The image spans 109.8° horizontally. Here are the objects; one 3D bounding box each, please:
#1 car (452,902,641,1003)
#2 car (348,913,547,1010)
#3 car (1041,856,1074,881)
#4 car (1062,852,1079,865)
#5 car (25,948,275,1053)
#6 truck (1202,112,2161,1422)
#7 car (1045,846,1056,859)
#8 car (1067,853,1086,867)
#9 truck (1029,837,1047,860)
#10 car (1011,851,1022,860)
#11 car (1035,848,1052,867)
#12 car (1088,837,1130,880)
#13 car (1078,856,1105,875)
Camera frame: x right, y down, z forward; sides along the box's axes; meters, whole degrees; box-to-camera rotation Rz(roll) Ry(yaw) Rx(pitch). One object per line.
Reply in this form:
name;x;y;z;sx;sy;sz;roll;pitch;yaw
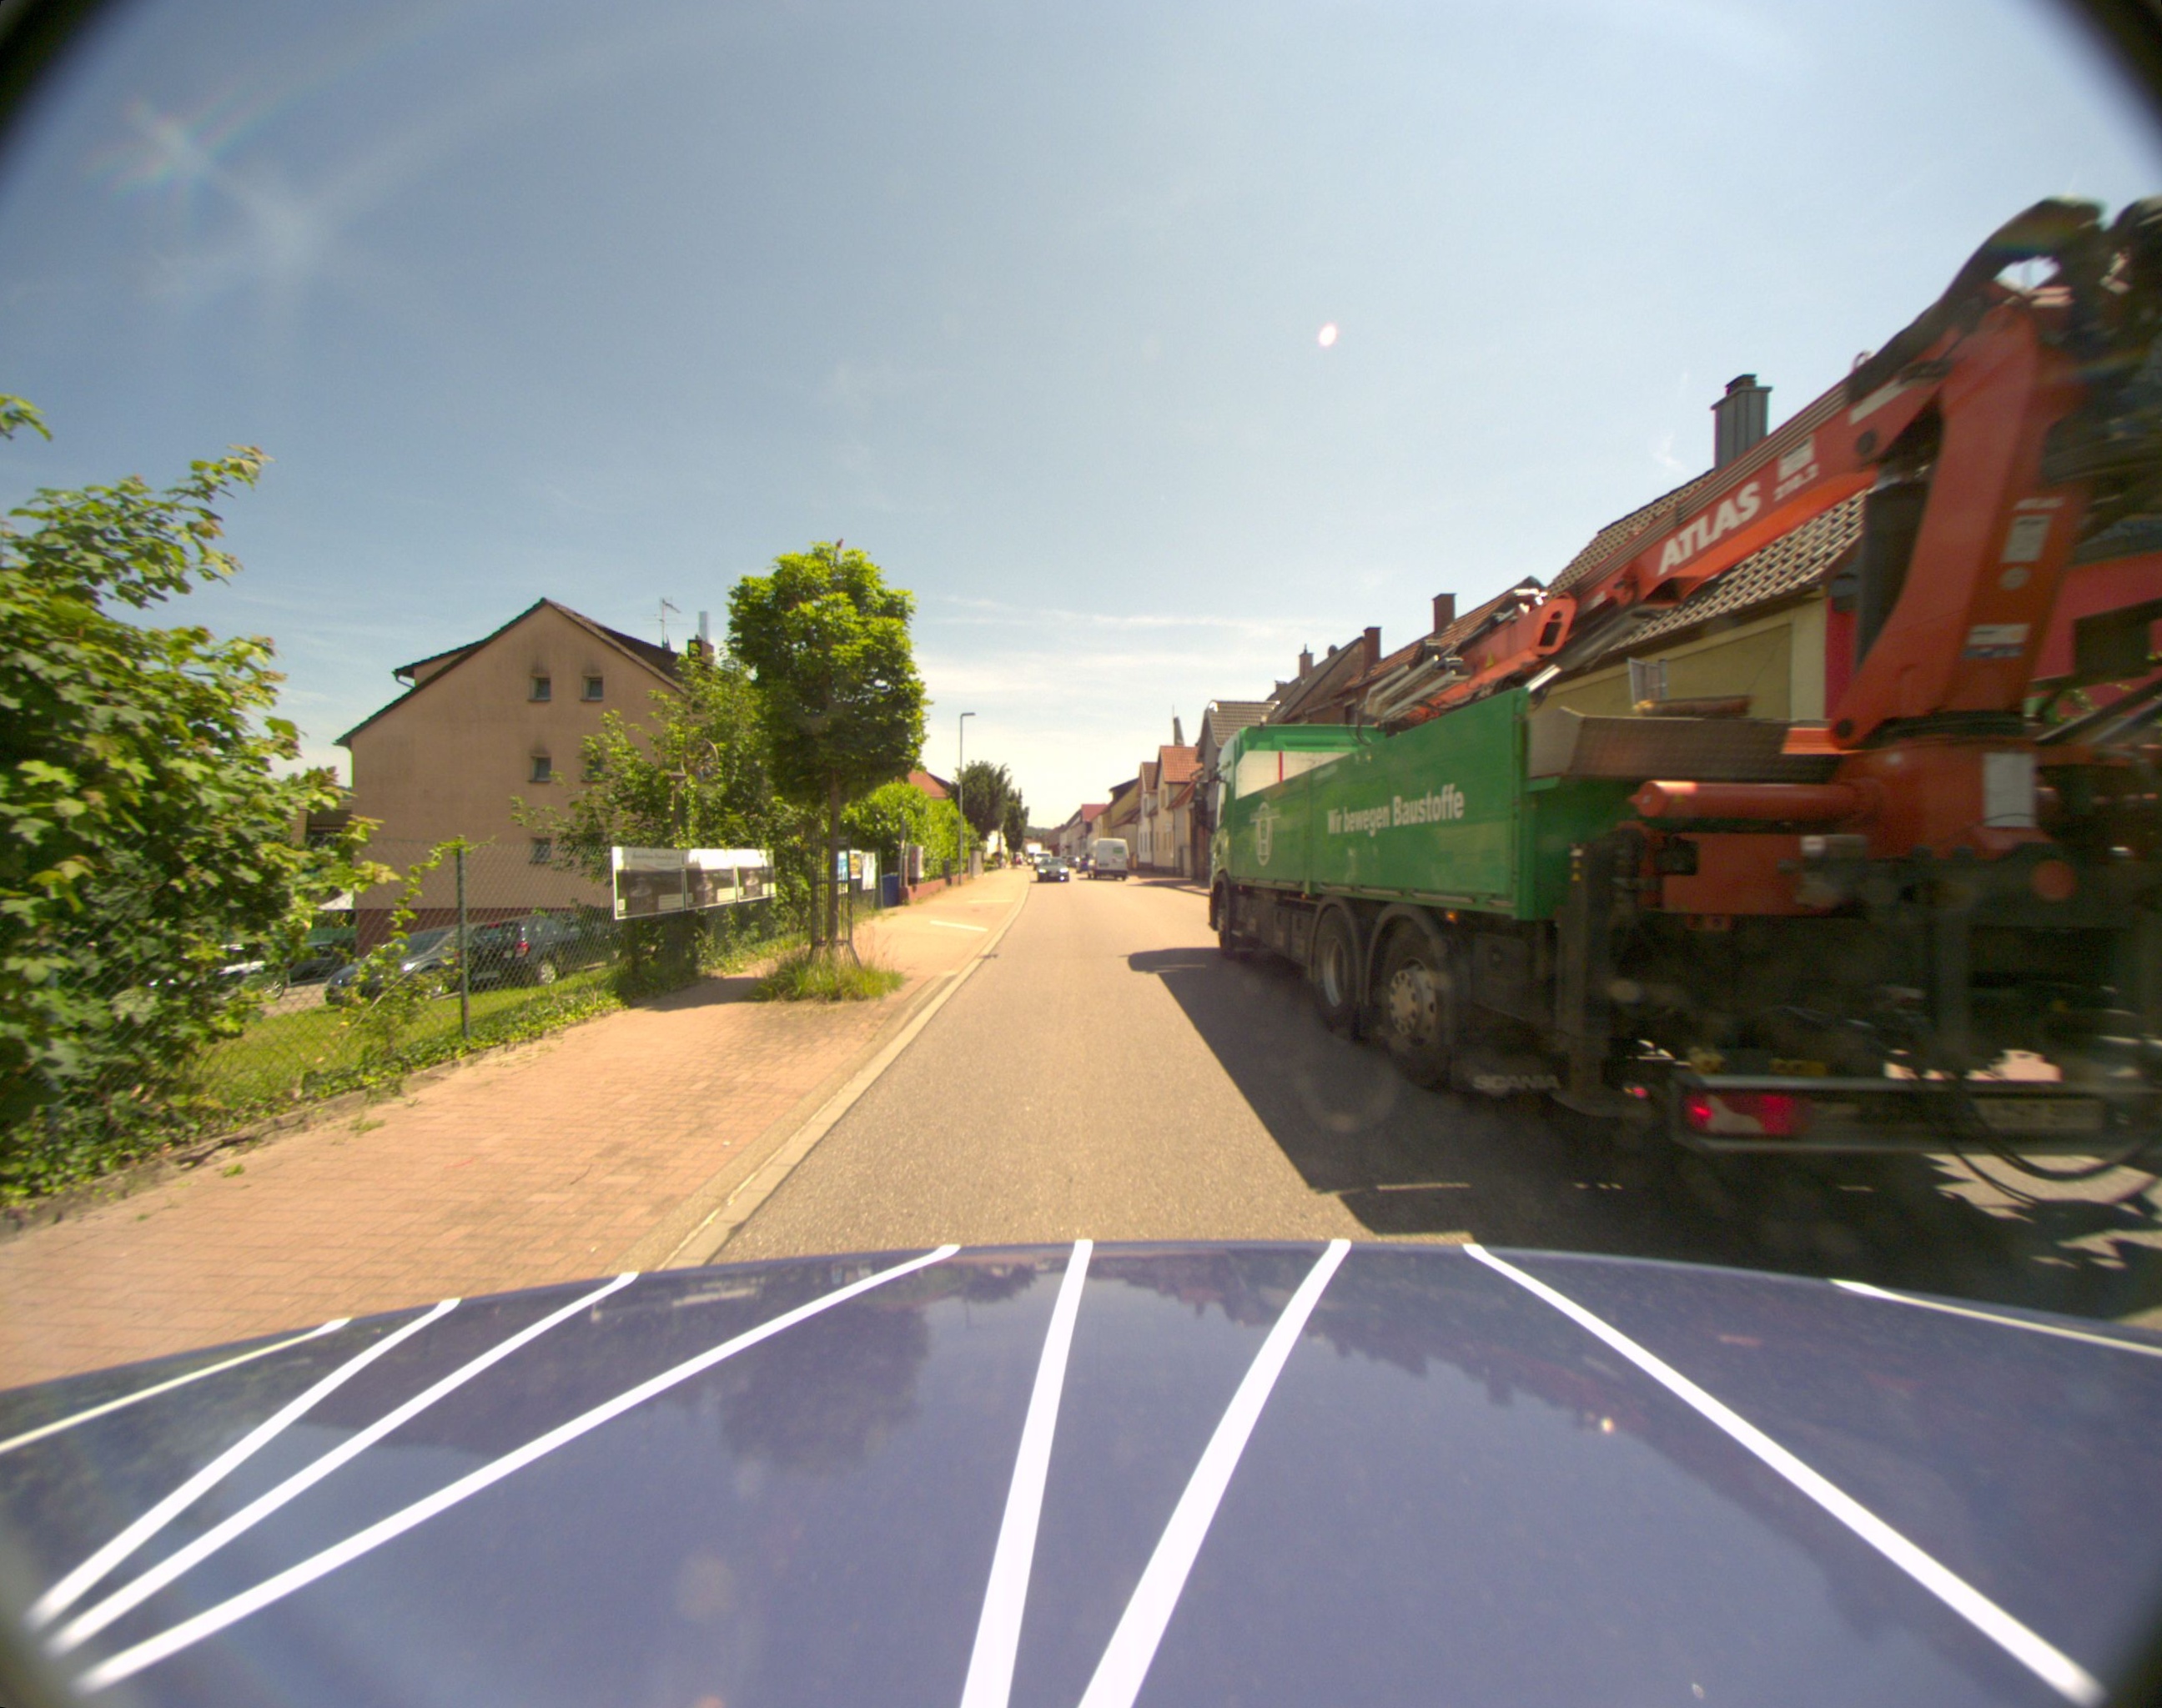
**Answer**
car;-11.770;2.098;17.048;1.496;1.465;3.569;-9;2;0
car;-14.357;2.380;17.472;1.326;1.465;3.292;-7;3;9
car;-1.377;0.804;43.630;1.706;1.346;3.998;-2;0;-4
car;-1.417;0.602;99.360;1.879;1.593;4.429;2;0;-5
car;-20.511;3.163;16.971;1.326;1.465;3.290;-7;2;0
truck;3.259;-0.230;7.187;2.573;3.679;10.077;0;0;0
car;-6.396;-0.360;158.656;2.116;2.517;4.911;1;0;-5
car;-0.529;0.654;82.738;1.681;1.450;3.926;1;0;-5
truck;-7.216;-0.880;126.877;2.899;3.516;12.948;-1;0;-4
car;-10.582;0.230;125.220;1.637;1.572;3.568;1;0;-4
car;-3.853;0.364;77.463;1.637;1.833;3.568;-1;0;-3
car;1.700;0.264;47.836;2.035;2.446;6.066;1;0;-3
car;0.806;0.896;61.154;1.650;1.445;4.399;-2;0;-5
